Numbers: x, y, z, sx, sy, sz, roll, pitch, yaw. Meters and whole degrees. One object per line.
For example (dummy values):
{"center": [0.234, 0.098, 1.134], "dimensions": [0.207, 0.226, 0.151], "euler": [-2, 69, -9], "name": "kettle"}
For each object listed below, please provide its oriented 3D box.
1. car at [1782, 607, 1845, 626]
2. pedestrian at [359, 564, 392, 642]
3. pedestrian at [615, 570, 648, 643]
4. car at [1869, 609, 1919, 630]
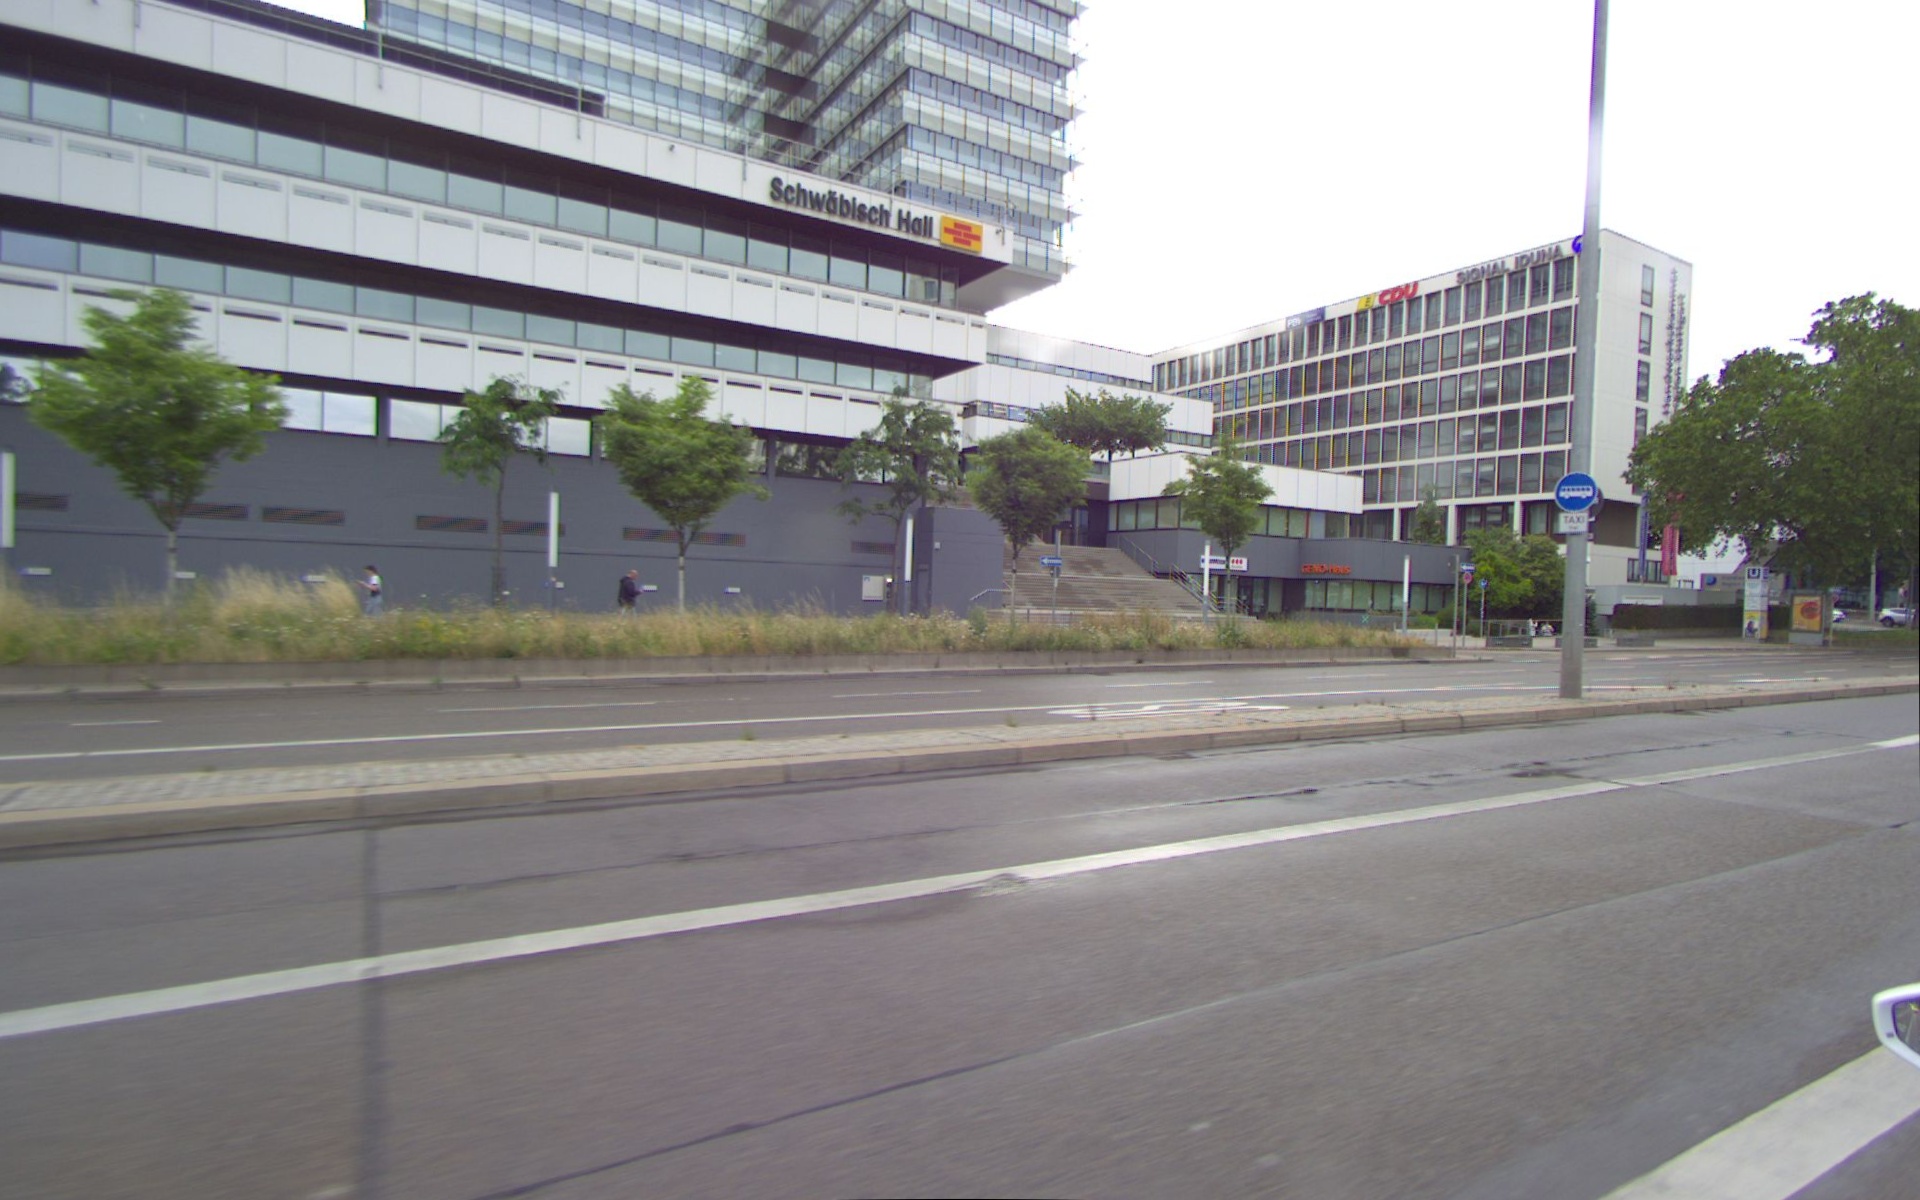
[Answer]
{"center": [77.112, 1.475, 90.788], "dimensions": [1.863, 1.653, 3.988], "euler": [2, -1, -14], "name": "car"}
{"center": [-13.911, 0.073, 23.909], "dimensions": [0.621, 1.832, 0.626], "euler": [2, 0, -30], "name": "pedestrian"}
{"center": [-8.419, 0.170, 25.725], "dimensions": [0.621, 1.832, 0.780], "euler": [2, 0, -30], "name": "pedestrian"}
{"center": [78.517, 1.662, 83.199], "dimensions": [1.863, 1.653, 4.503], "euler": [2, -1, -14], "name": "car"}
